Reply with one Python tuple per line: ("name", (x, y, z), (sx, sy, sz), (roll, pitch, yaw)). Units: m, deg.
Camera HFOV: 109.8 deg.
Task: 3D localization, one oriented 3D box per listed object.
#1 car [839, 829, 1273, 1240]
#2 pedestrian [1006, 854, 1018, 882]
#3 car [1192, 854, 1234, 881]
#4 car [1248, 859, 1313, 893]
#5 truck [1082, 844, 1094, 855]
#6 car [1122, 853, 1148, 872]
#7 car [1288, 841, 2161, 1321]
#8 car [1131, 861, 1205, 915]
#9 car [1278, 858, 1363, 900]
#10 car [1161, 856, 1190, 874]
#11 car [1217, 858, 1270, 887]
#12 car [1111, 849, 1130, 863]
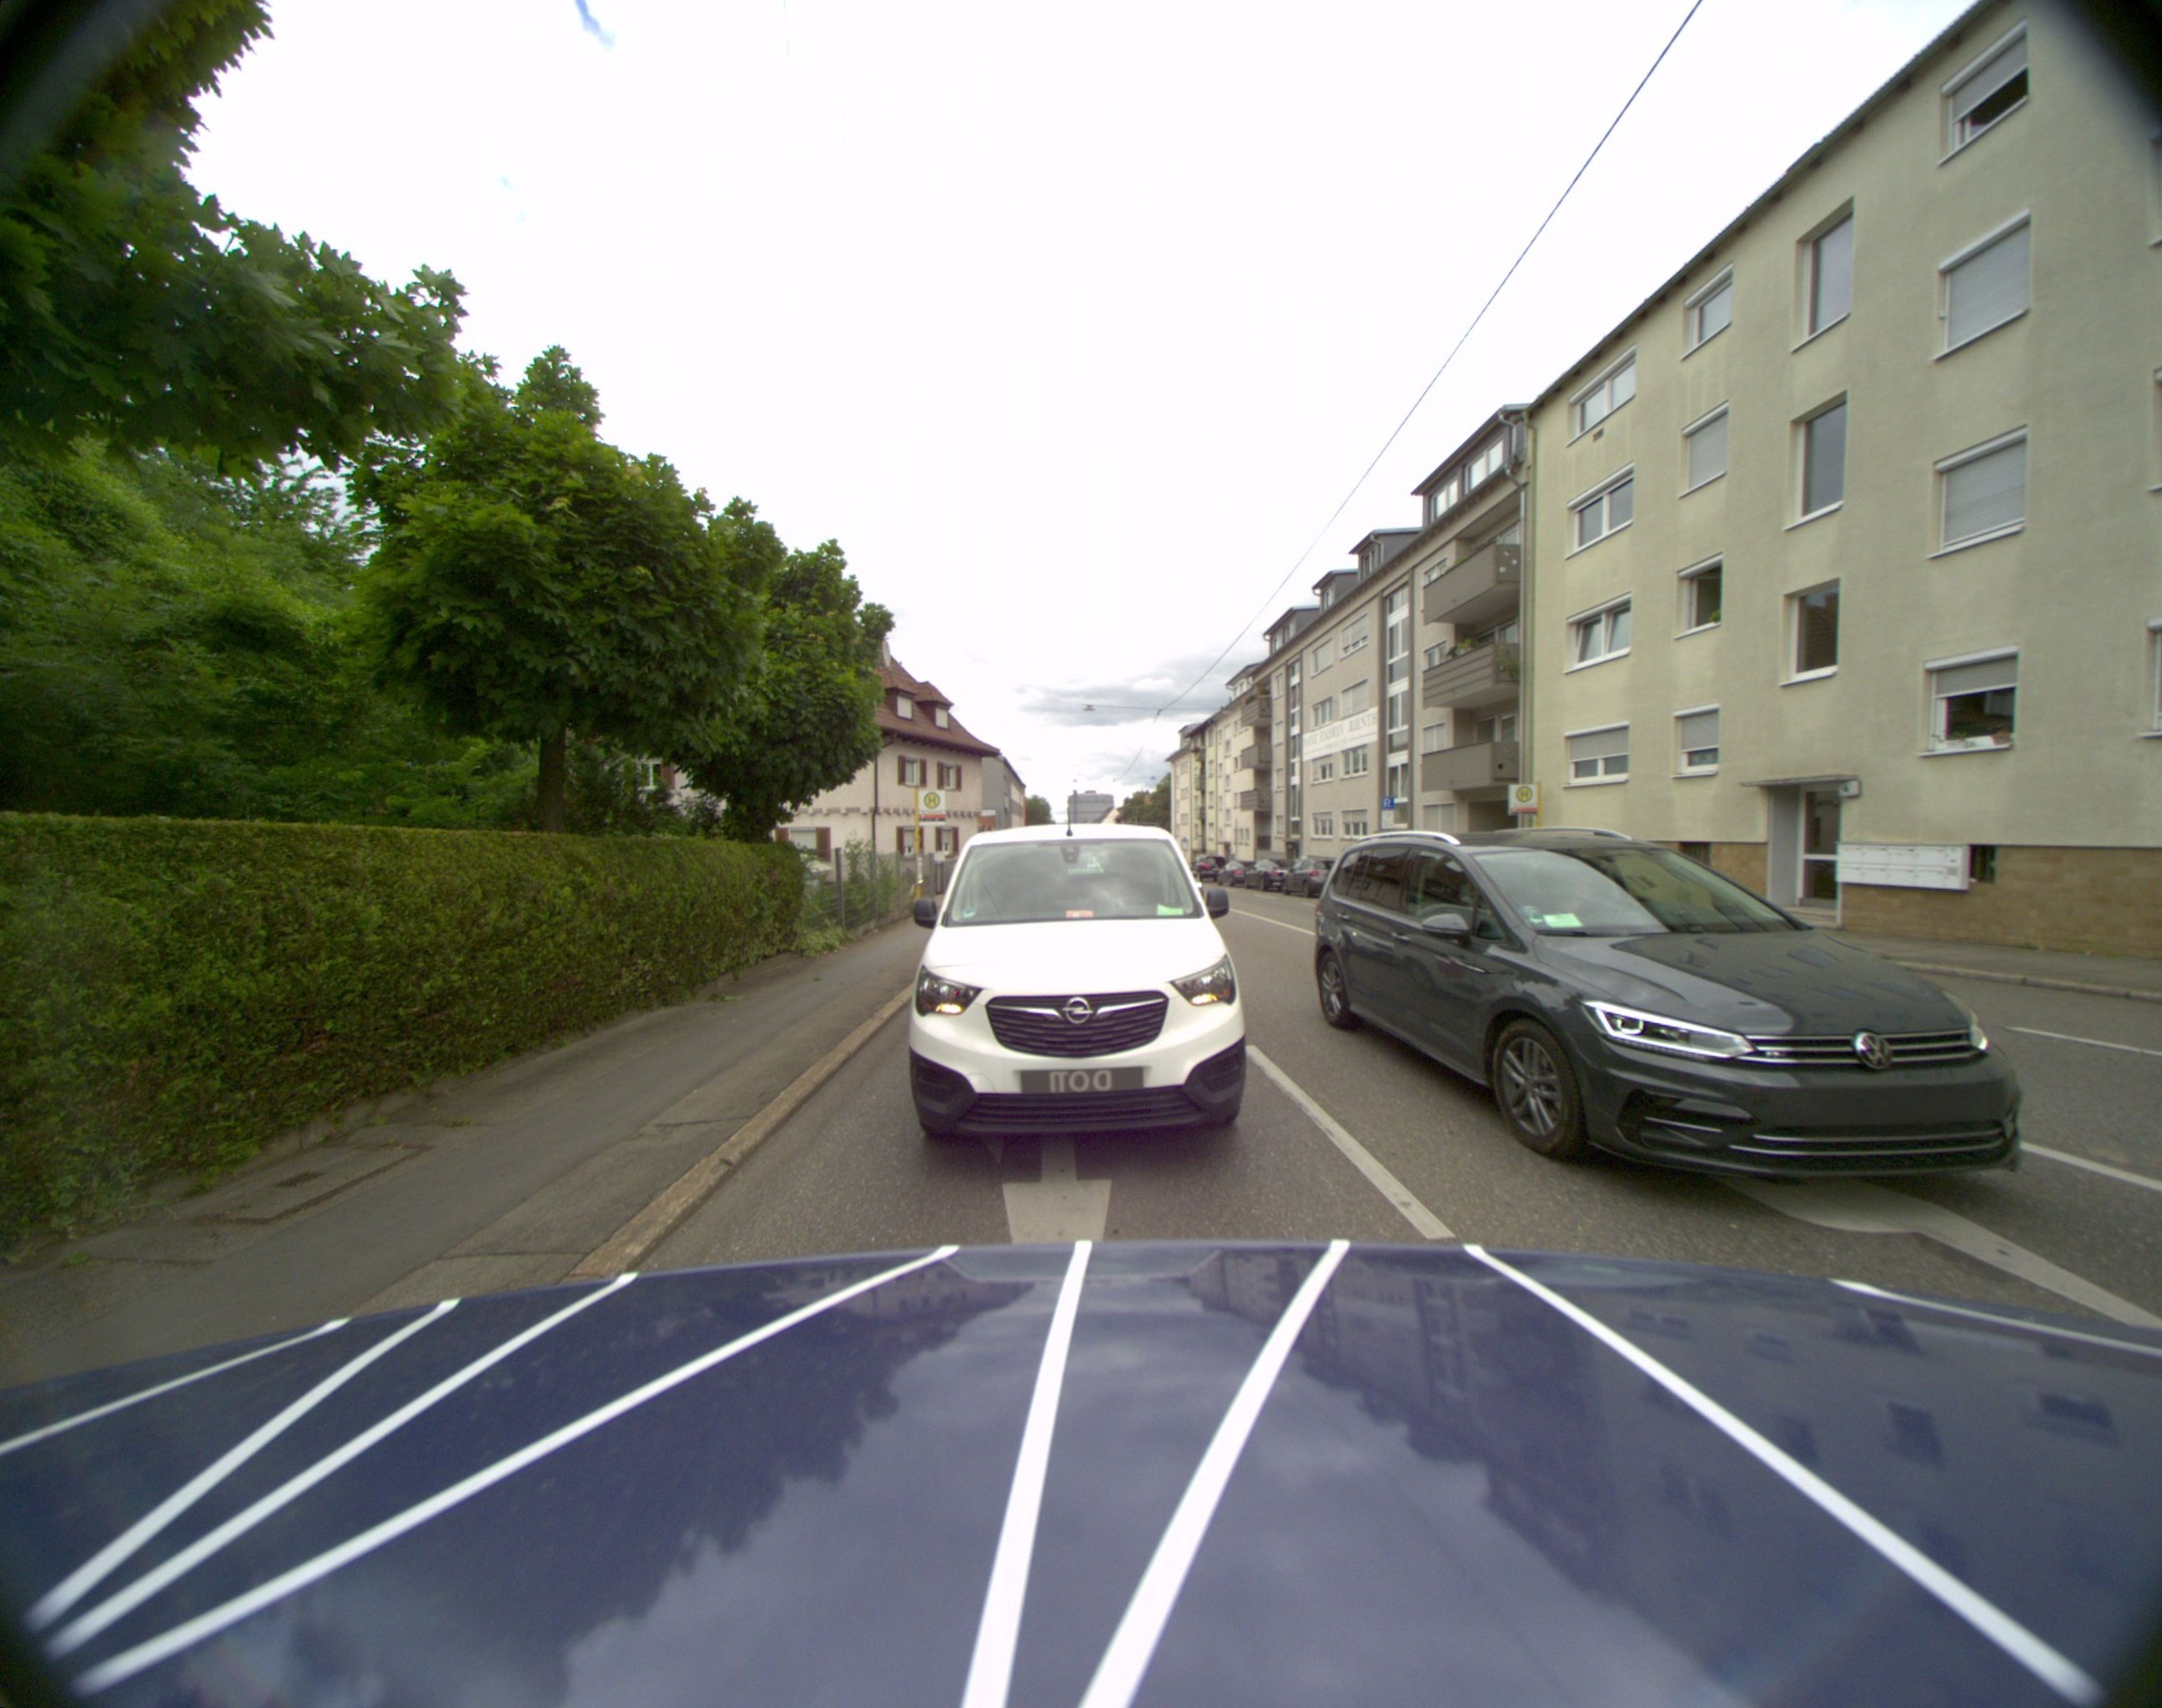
("car", (-0.076, 0.784, 5.731), (1.862, 1.772, 4.711), (-2, 1, 1))
("pedestrian", (-4.442, 0.890, 49.043), (0.647, 1.830, 0.592), (-1, 1, 0))
("car", (8.403, 0.837, 48.676), (1.776, 1.591, 3.538), (0, 1, -5))
("car", (8.735, 0.917, 33.517), (1.669, 1.368, 3.538), (0, 1, -5))
("truck", (1.513, -0.952, 171.782), (2.546, 2.522, 5.493), (-1, 0, 0))
("car", (4.529, 0.700, 64.069), (1.775, 1.513, 4.082), (0, 1, -2))
("car", (2.969, 0.767, 4.903), (1.863, 1.601, 4.478), (-2, 1, -2))
("car", (2.386, 0.899, 21.664), (1.881, 1.347, 4.147), (0, 0, 4))
("car", (8.906, 0.882, 28.568), (1.776, 1.403, 3.685), (0, 1, -5))
("car", (8.127, 0.931, 65.604), (1.776, 1.395, 3.757), (0, 1, -5))
("car", (8.396, 0.912, 39.545), (1.776, 1.395, 3.538), (0, 1, -5))
("car", (4.430, 0.225, 85.854), (1.593, 1.474, 3.597), (-1, 1, -5))
